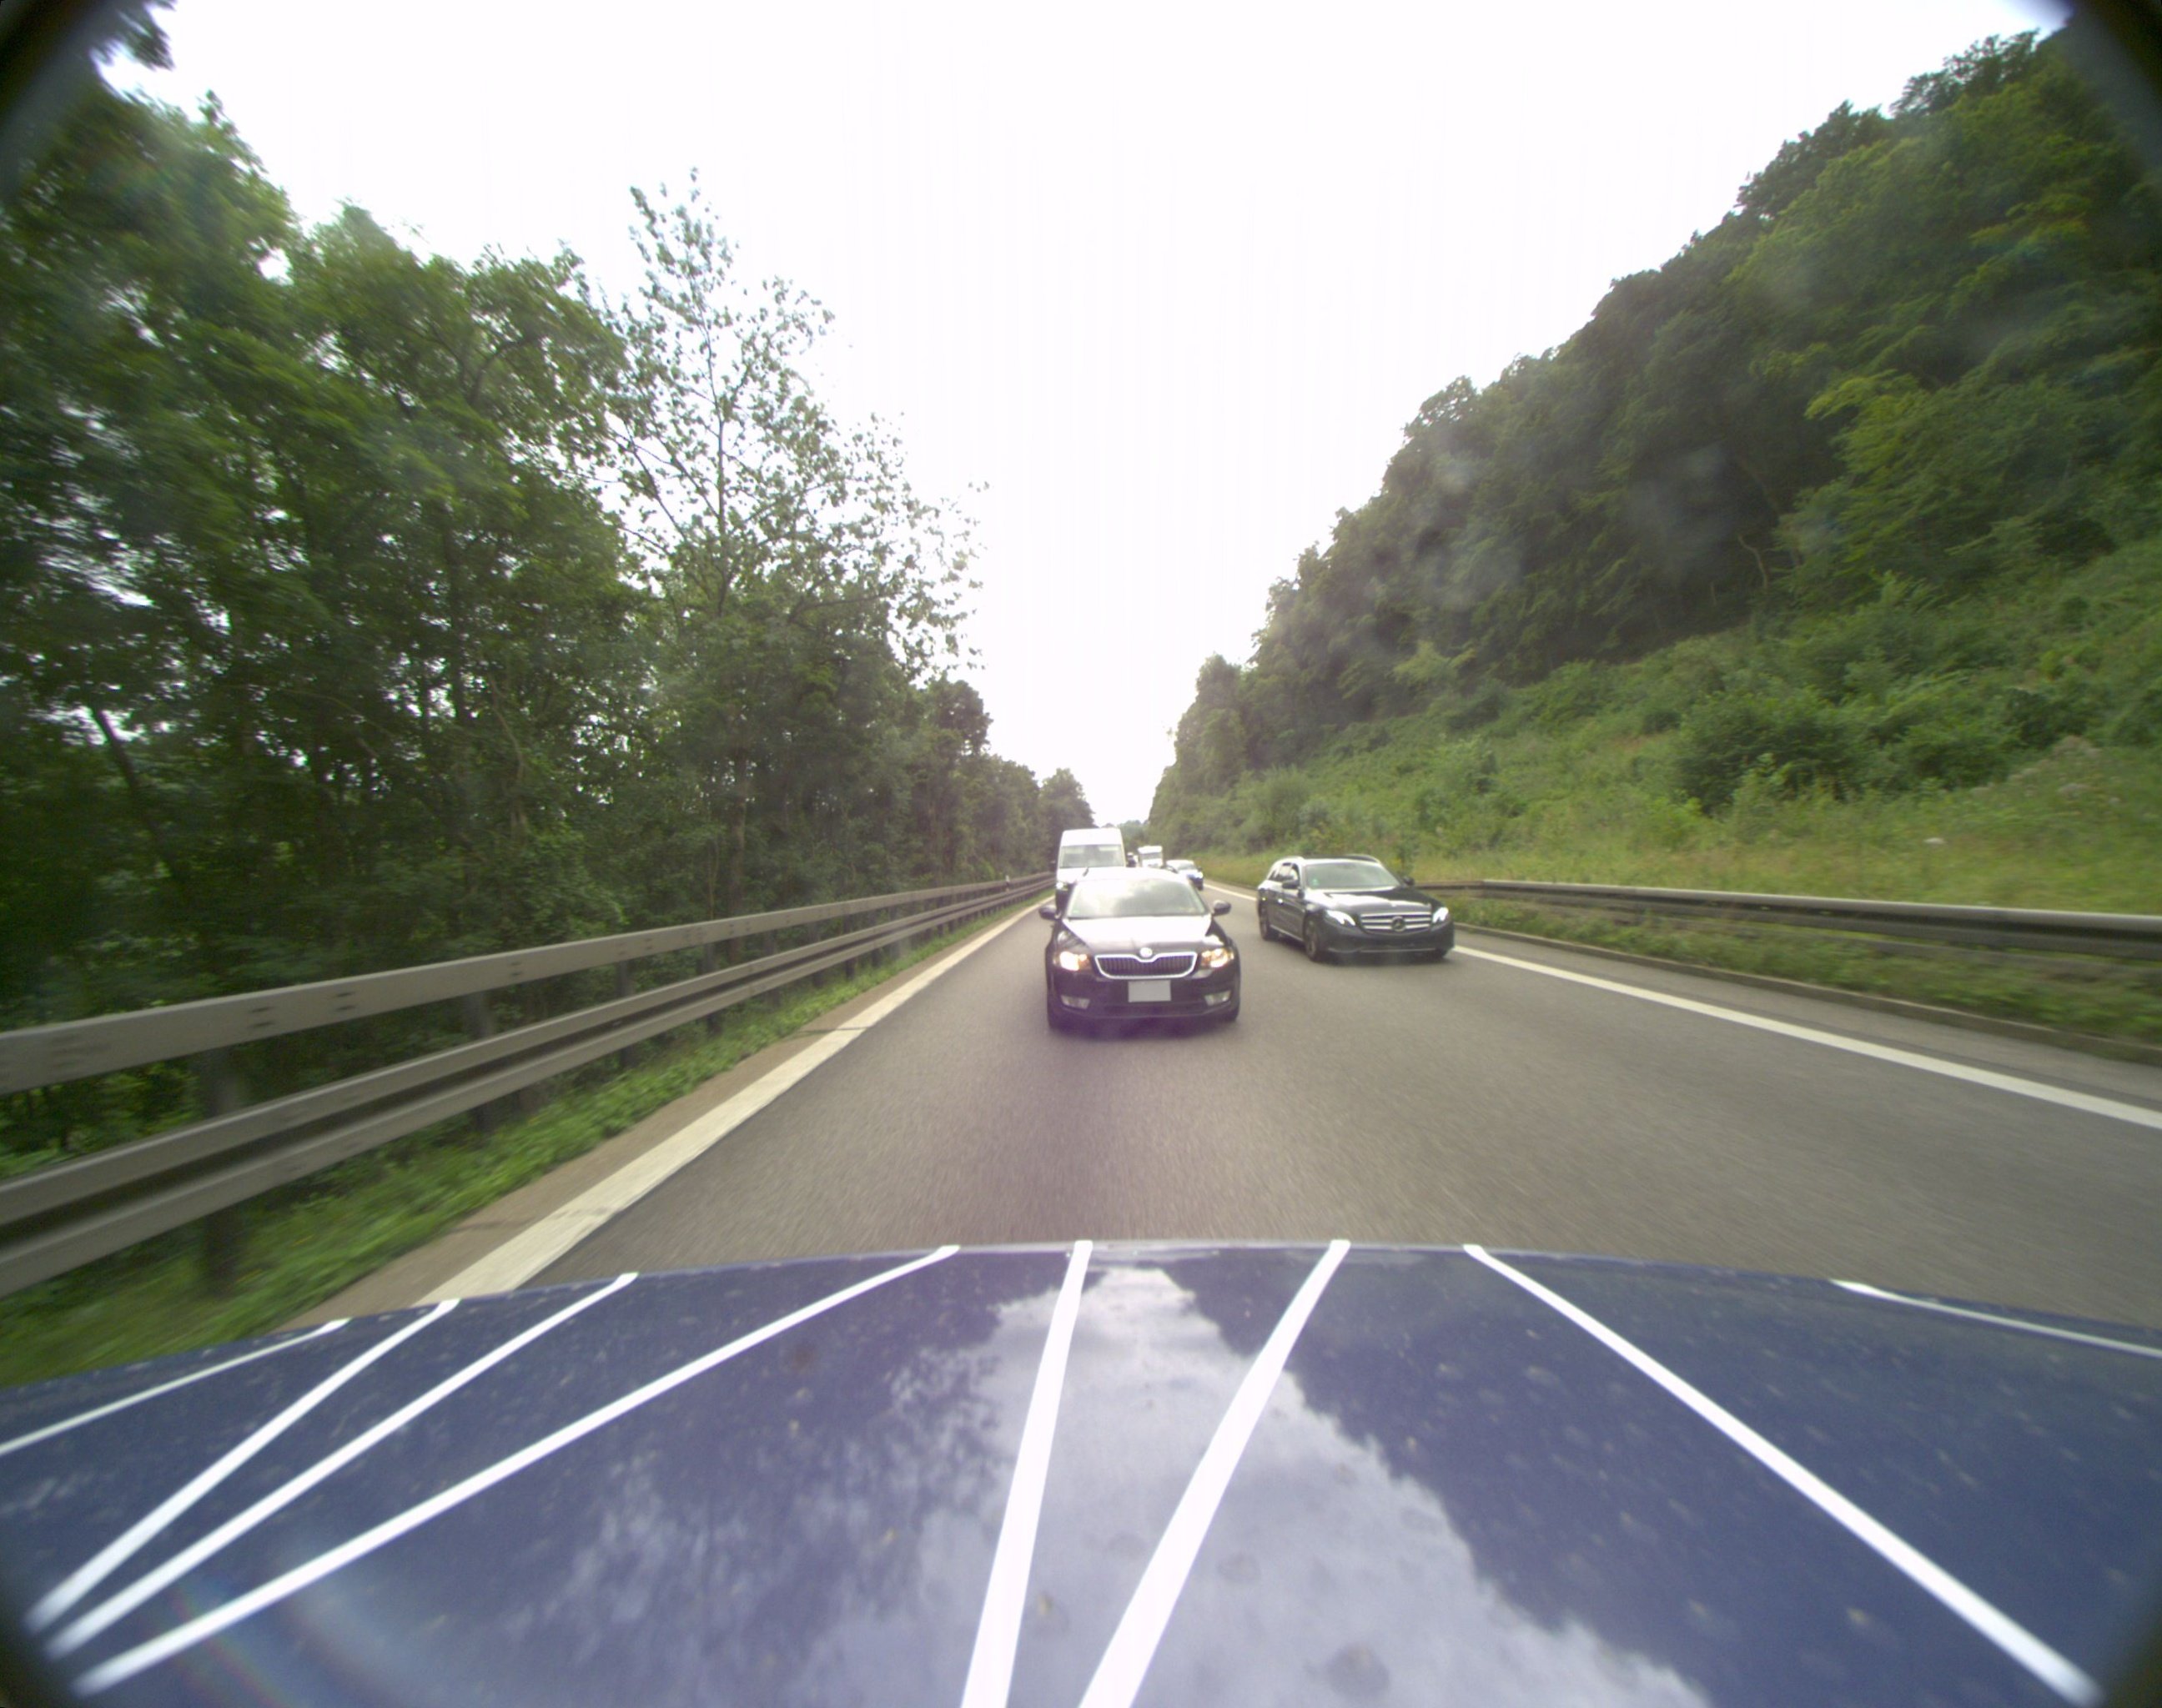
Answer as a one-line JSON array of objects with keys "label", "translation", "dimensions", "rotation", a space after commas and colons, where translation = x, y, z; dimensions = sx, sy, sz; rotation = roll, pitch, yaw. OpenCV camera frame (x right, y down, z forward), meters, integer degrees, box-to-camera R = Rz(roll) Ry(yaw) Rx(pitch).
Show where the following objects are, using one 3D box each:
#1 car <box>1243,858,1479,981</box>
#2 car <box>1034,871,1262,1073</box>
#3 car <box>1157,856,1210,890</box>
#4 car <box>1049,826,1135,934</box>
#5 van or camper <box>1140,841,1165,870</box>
[{"label": "car", "translation": [4.006, 0.834, 11.947], "dimensions": [1.765, 1.455, 5.123], "rotation": [-2, -1, 0]}, {"label": "car", "translation": [0.552, 0.985, 8.199], "dimensions": [1.751, 1.409, 4.401], "rotation": [-2, 0, 1]}, {"label": "car", "translation": [4.880, 0.892, 36.844], "dimensions": [1.840, 1.460, 4.555], "rotation": [-2, 0, -1]}, {"label": "car", "translation": [0.349, 0.617, 20.977], "dimensions": [2.001, 2.545, 5.128], "rotation": [-2, 0, 2]}, {"label": "van or camper", "translation": [7.089, 0.122, 76.059], "dimensions": [2.270, 2.719, 7.026], "rotation": [-2, 0, 4]}]
